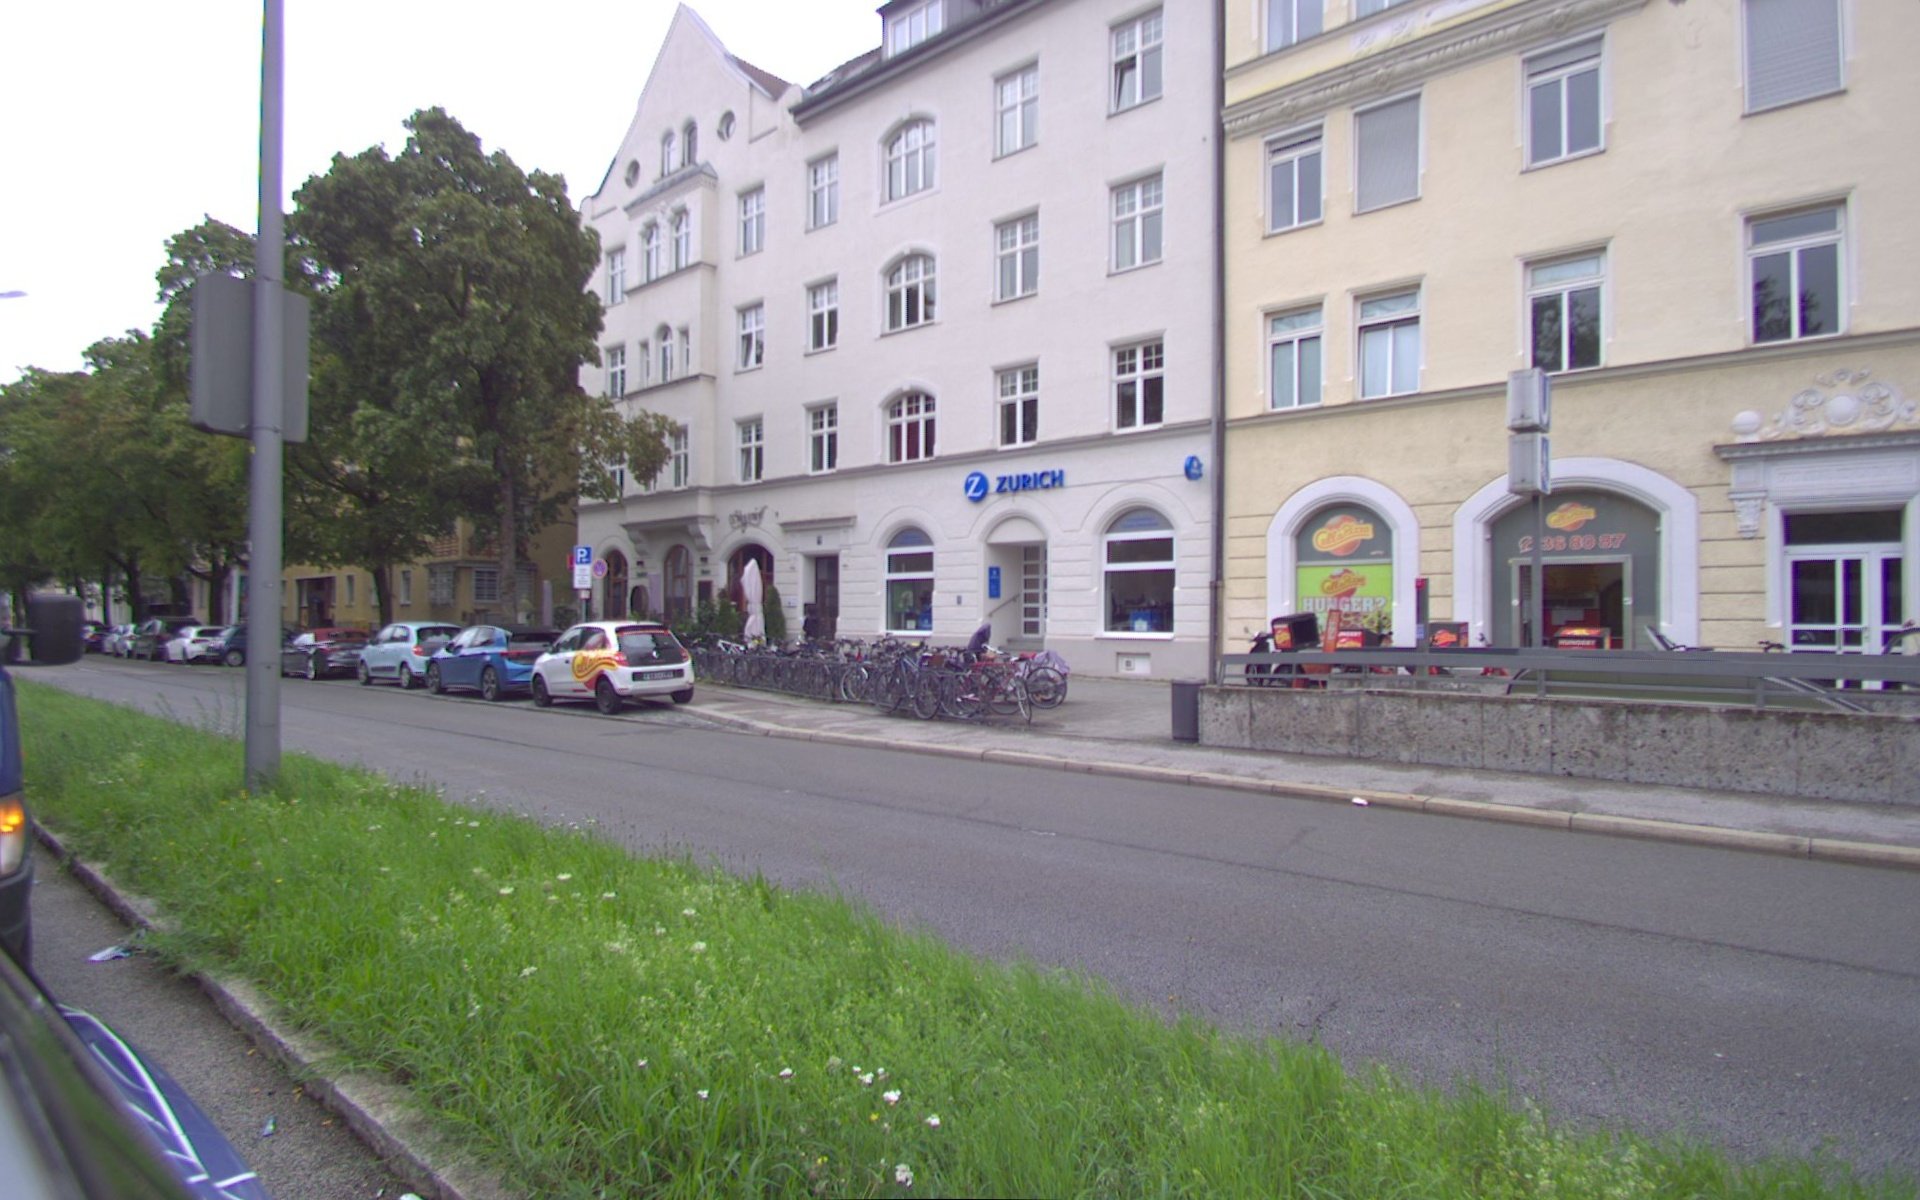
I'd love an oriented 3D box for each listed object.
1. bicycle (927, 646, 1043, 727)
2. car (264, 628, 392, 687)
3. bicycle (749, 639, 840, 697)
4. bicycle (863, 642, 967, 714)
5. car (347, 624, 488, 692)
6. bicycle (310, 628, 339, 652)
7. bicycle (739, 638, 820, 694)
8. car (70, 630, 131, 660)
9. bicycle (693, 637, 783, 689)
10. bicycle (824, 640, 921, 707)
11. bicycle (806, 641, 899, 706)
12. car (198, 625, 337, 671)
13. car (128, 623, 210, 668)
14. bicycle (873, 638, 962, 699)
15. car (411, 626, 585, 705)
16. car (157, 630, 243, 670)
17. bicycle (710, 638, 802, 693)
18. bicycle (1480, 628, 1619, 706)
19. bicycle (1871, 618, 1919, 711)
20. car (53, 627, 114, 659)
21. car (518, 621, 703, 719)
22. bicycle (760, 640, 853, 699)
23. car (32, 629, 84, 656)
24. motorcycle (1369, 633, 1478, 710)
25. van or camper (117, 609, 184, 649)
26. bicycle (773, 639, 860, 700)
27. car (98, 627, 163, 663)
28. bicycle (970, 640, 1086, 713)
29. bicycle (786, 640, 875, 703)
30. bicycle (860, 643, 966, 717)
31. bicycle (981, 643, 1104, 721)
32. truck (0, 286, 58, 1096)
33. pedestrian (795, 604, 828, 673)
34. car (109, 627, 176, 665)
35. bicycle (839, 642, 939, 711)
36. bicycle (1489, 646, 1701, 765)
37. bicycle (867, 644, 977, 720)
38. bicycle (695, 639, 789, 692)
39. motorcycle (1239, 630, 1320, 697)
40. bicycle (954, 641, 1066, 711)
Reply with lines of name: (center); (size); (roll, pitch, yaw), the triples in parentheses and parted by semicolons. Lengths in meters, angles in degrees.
bicycle: (0.358, 1.236, 14.688); (1.667, 1.124, 0.328); (-1, -2, 18)
car: (-17.924, 1.554, 28.611); (4.643, 1.518, 1.792); (-1, -2, 41)
bicycle: (-3.330, 1.351, 20.336); (1.859, 1.124, 0.328); (-1, -2, 18)
bicycle: (-0.739, 1.245, 16.391); (1.667, 1.124, 0.365); (-1, -2, 18)
car: (-13.395, 1.361, 24.927); (3.958, 1.518, 1.792); (-1, -2, 41)
bicycle: (-33.210, 2.089, 52.883); (1.929, 1.231, 0.762); (-1, -2, 41)
bicycle: (-3.733, 1.354, 20.948); (1.664, 1.124, 0.329); (-1, -1, 14)
car: (-42.953, 2.208, 50.548); (4.361, 1.416, 1.709); (-1, -2, 41)
bicycle: (-4.974, 1.400, 22.671); (1.944, 1.124, 0.457); (-1, -1, 10)
bicycle: (-1.518, 1.259, 17.527); (1.667, 1.124, 0.380); (-1, -2, 18)
bicycle: (-1.923, 1.306, 18.100); (1.667, 1.124, 0.328); (-1, -2, 18)
car: (-25.141, 1.716, 36.831); (1.730, 1.475, 3.851); (-1, -1, 39)
car: (-32.720, 1.840, 41.818); (4.765, 1.741, 1.791); (-1, -2, 41)
bicycle: (-0.810, 1.279, 19.169); (1.667, 1.124, 0.328); (-1, -2, 18)
car: (-9.965, 1.321, 21.691); (4.289, 1.518, 1.792); (-1, -2, 41)
car: (-28.622, 1.833, 38.055); (4.401, 1.413, 1.708); (-1, -2, 41)
bicycle: (-4.326, 1.386, 21.513); (1.860, 1.124, 0.548); (-1, -1, 10)
bicycle: (7.871, 0.872, 13.553); (1.544, 0.988, 0.468); (-1, -2, 41)
bicycle: (10.654, 0.679, 10.662); (1.544, 0.988, 0.468); (-1, -2, 41)
car: (-47.295, 2.278, 54.589); (4.768, 1.658, 1.859); (-1, -2, 41)
car: (-6.462, 1.196, 18.534); (3.790, 1.597, 1.631); (-1, -2, 43)
bicycle: (-3.009, 1.350, 19.818); (1.859, 1.124, 0.328); (-1, -2, 18)
car: (-51.955, 2.416, 58.250); (4.490, 1.465, 1.674); (-1, -2, 41)
motorcycle: (7.512, 1.126, 16.514); (0.600, 1.130, 1.991); (0, -1, -9)
van or camper: (-54.813, 1.940, 68.482); (6.847, 2.599, 2.321); (-1, -2, 41)
bicycle: (-2.740, 1.318, 19.294); (1.667, 1.124, 0.328); (-1, -2, 18)
car: (-38.894, 2.081, 47.426); (4.055, 1.573, 1.709); (-1, -2, 41)
bicycle: (1.075, 1.202, 16.150); (1.799, 1.124, 0.394); (-1, -2, 18)
bicycle: (-2.403, 1.313, 18.747); (1.667, 1.124, 0.328); (-1, -2, 18)
bicycle: (-0.751, 1.245, 15.973); (1.667, 1.124, 0.328); (-1, -2, 18)
bicycle: (1.230, 1.207, 15.150); (1.799, 1.124, 0.394); (-1, -2, 18)
truck: (-5.471, 0.308, 4.185); (5.148, 2.508, 1.973); (-1, -2, 41)
pedestrian: (-3.630, 0.935, 24.684); (0.416, 1.644, 0.784); (1, -2, -43)
car: (-36.173, 2.007, 44.787); (3.007, 1.569, 1.710); (-1, -2, 39)
bicycle: (-1.197, 1.275, 16.990); (1.667, 1.124, 0.328); (-1, -2, 18)
bicycle: (6.513, 1.053, 10.466); (1.808, 1.124, 0.392); (-1, -2, 33)
bicycle: (-0.582, 1.235, 15.506); (1.667, 1.124, 0.366); (-1, -2, 18)
bicycle: (-4.750, 1.414, 22.114); (1.966, 1.124, 0.503); (-1, -1, 10)
motorcycle: (5.874, 1.137, 18.733); (0.600, 1.139, 1.991); (0, -1, -9)
bicycle: (0.817, 1.236, 16.705); (1.799, 1.124, 0.394); (-1, -2, 18)
